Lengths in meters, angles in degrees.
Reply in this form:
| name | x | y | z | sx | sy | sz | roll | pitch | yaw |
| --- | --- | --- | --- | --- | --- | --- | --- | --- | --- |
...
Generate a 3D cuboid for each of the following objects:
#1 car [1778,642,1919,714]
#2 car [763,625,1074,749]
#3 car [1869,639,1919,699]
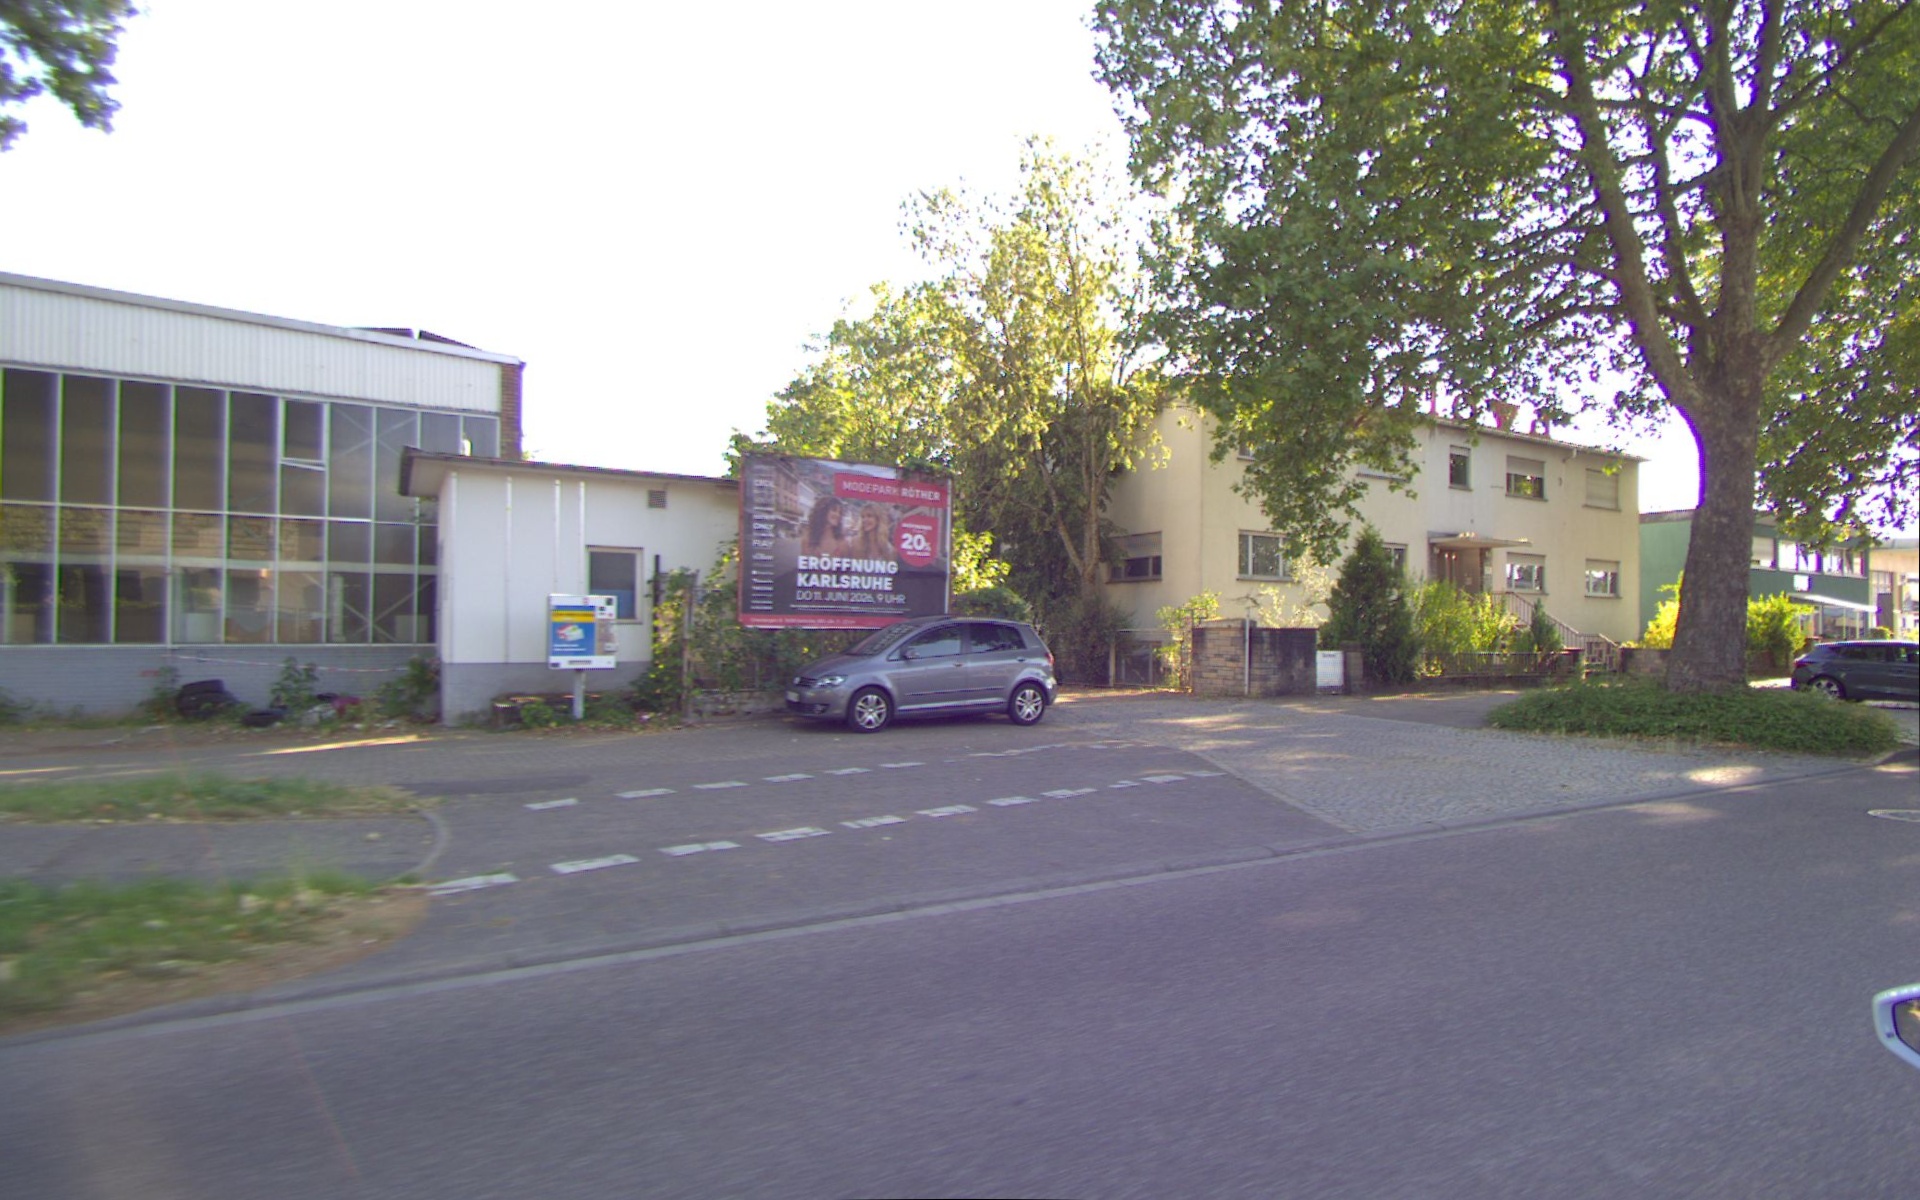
| name | x | y | z | sx | sy | sz | roll | pitch | yaw |
| --- | --- | --- | --- | --- | --- | --- | --- | --- | --- |
| car | 20.643 | 1.666 | 21.606 | 1.978 | 1.441 | 4.330 | 1 | -2 | -32 |
| car | -0.591 | 1.207 | 15.051 | 4.221 | 1.597 | 1.985 | 2 | -1 | -29 |
| car | 25.438 | 1.705 | 24.409 | 1.977 | 1.441 | 4.578 | 0 | -2 | -30 |
